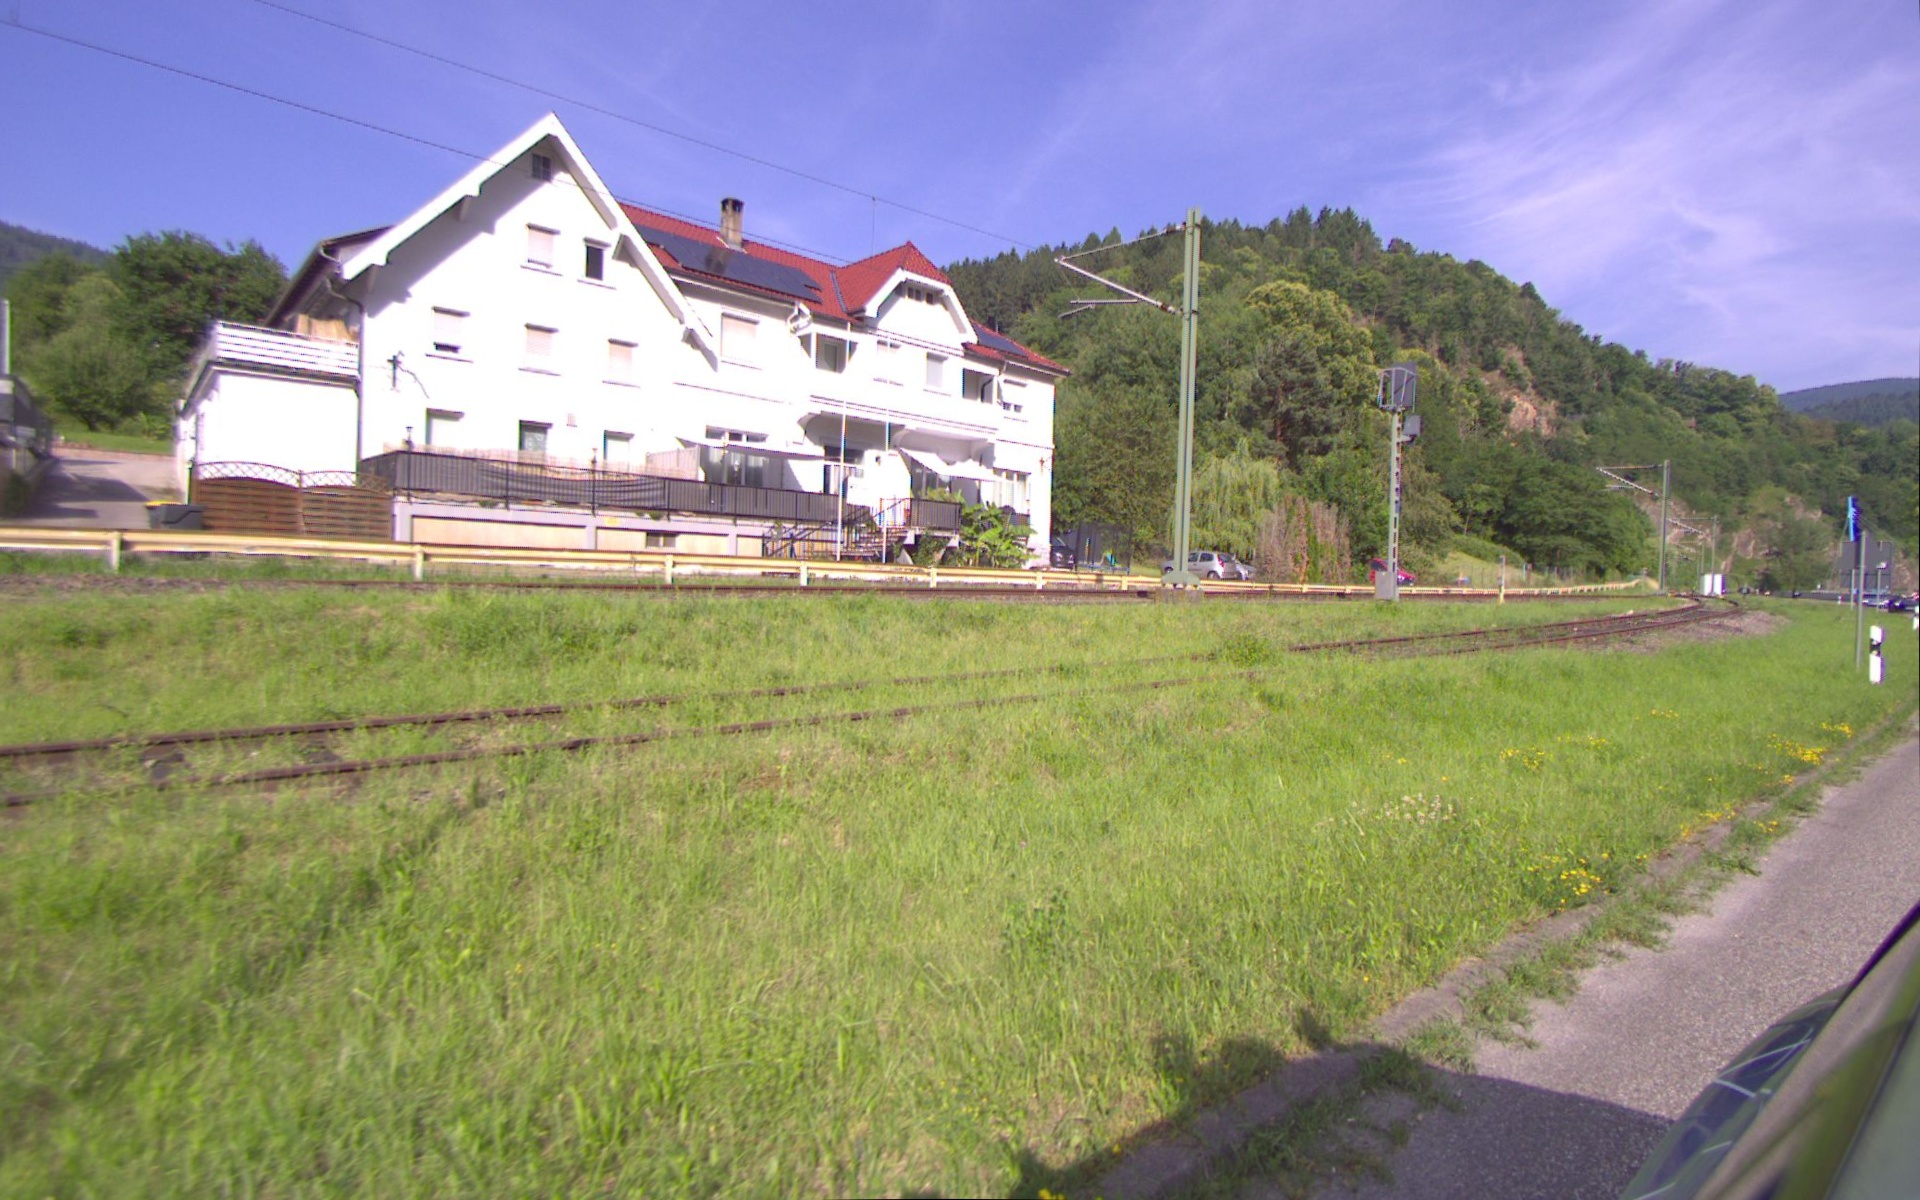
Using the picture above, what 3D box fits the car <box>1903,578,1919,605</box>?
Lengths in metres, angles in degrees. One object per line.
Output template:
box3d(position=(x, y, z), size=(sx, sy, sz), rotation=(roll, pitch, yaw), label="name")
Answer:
box3d(position=(75.731, -0.654, 79.681), size=(1.994, 2.038, 3.938), rotation=(5, 4, 43), label="car")

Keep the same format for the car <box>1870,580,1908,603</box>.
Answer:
box3d(position=(87.716, -0.842, 95.621), size=(1.988, 2.038, 3.950), rotation=(4, 3, 35), label="car")

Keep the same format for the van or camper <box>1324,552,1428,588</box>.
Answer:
box3d(position=(25.290, -1.852, 61.735), size=(2.084, 1.952, 5.428), rotation=(0, 4, -41), label="van or camper")

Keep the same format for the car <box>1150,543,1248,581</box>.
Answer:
box3d(position=(11.250, -1.798, 47.776), size=(3.988, 1.549, 1.969), rotation=(5, 2, 43), label="car")

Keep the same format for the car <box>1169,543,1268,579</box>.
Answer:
box3d(position=(12.729, -1.920, 50.017), size=(4.314, 1.548, 1.969), rotation=(5, 2, 43), label="car")

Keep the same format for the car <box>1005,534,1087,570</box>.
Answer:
box3d(position=(4.635, -2.606, 54.828), size=(3.988, 1.704, 1.969), rotation=(5, 2, 43), label="car")

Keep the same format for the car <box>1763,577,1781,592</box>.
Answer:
box3d(position=(119.357, -2.223, 148.801), size=(1.991, 2.038, 3.944), rotation=(5, 3, 39), label="car")
